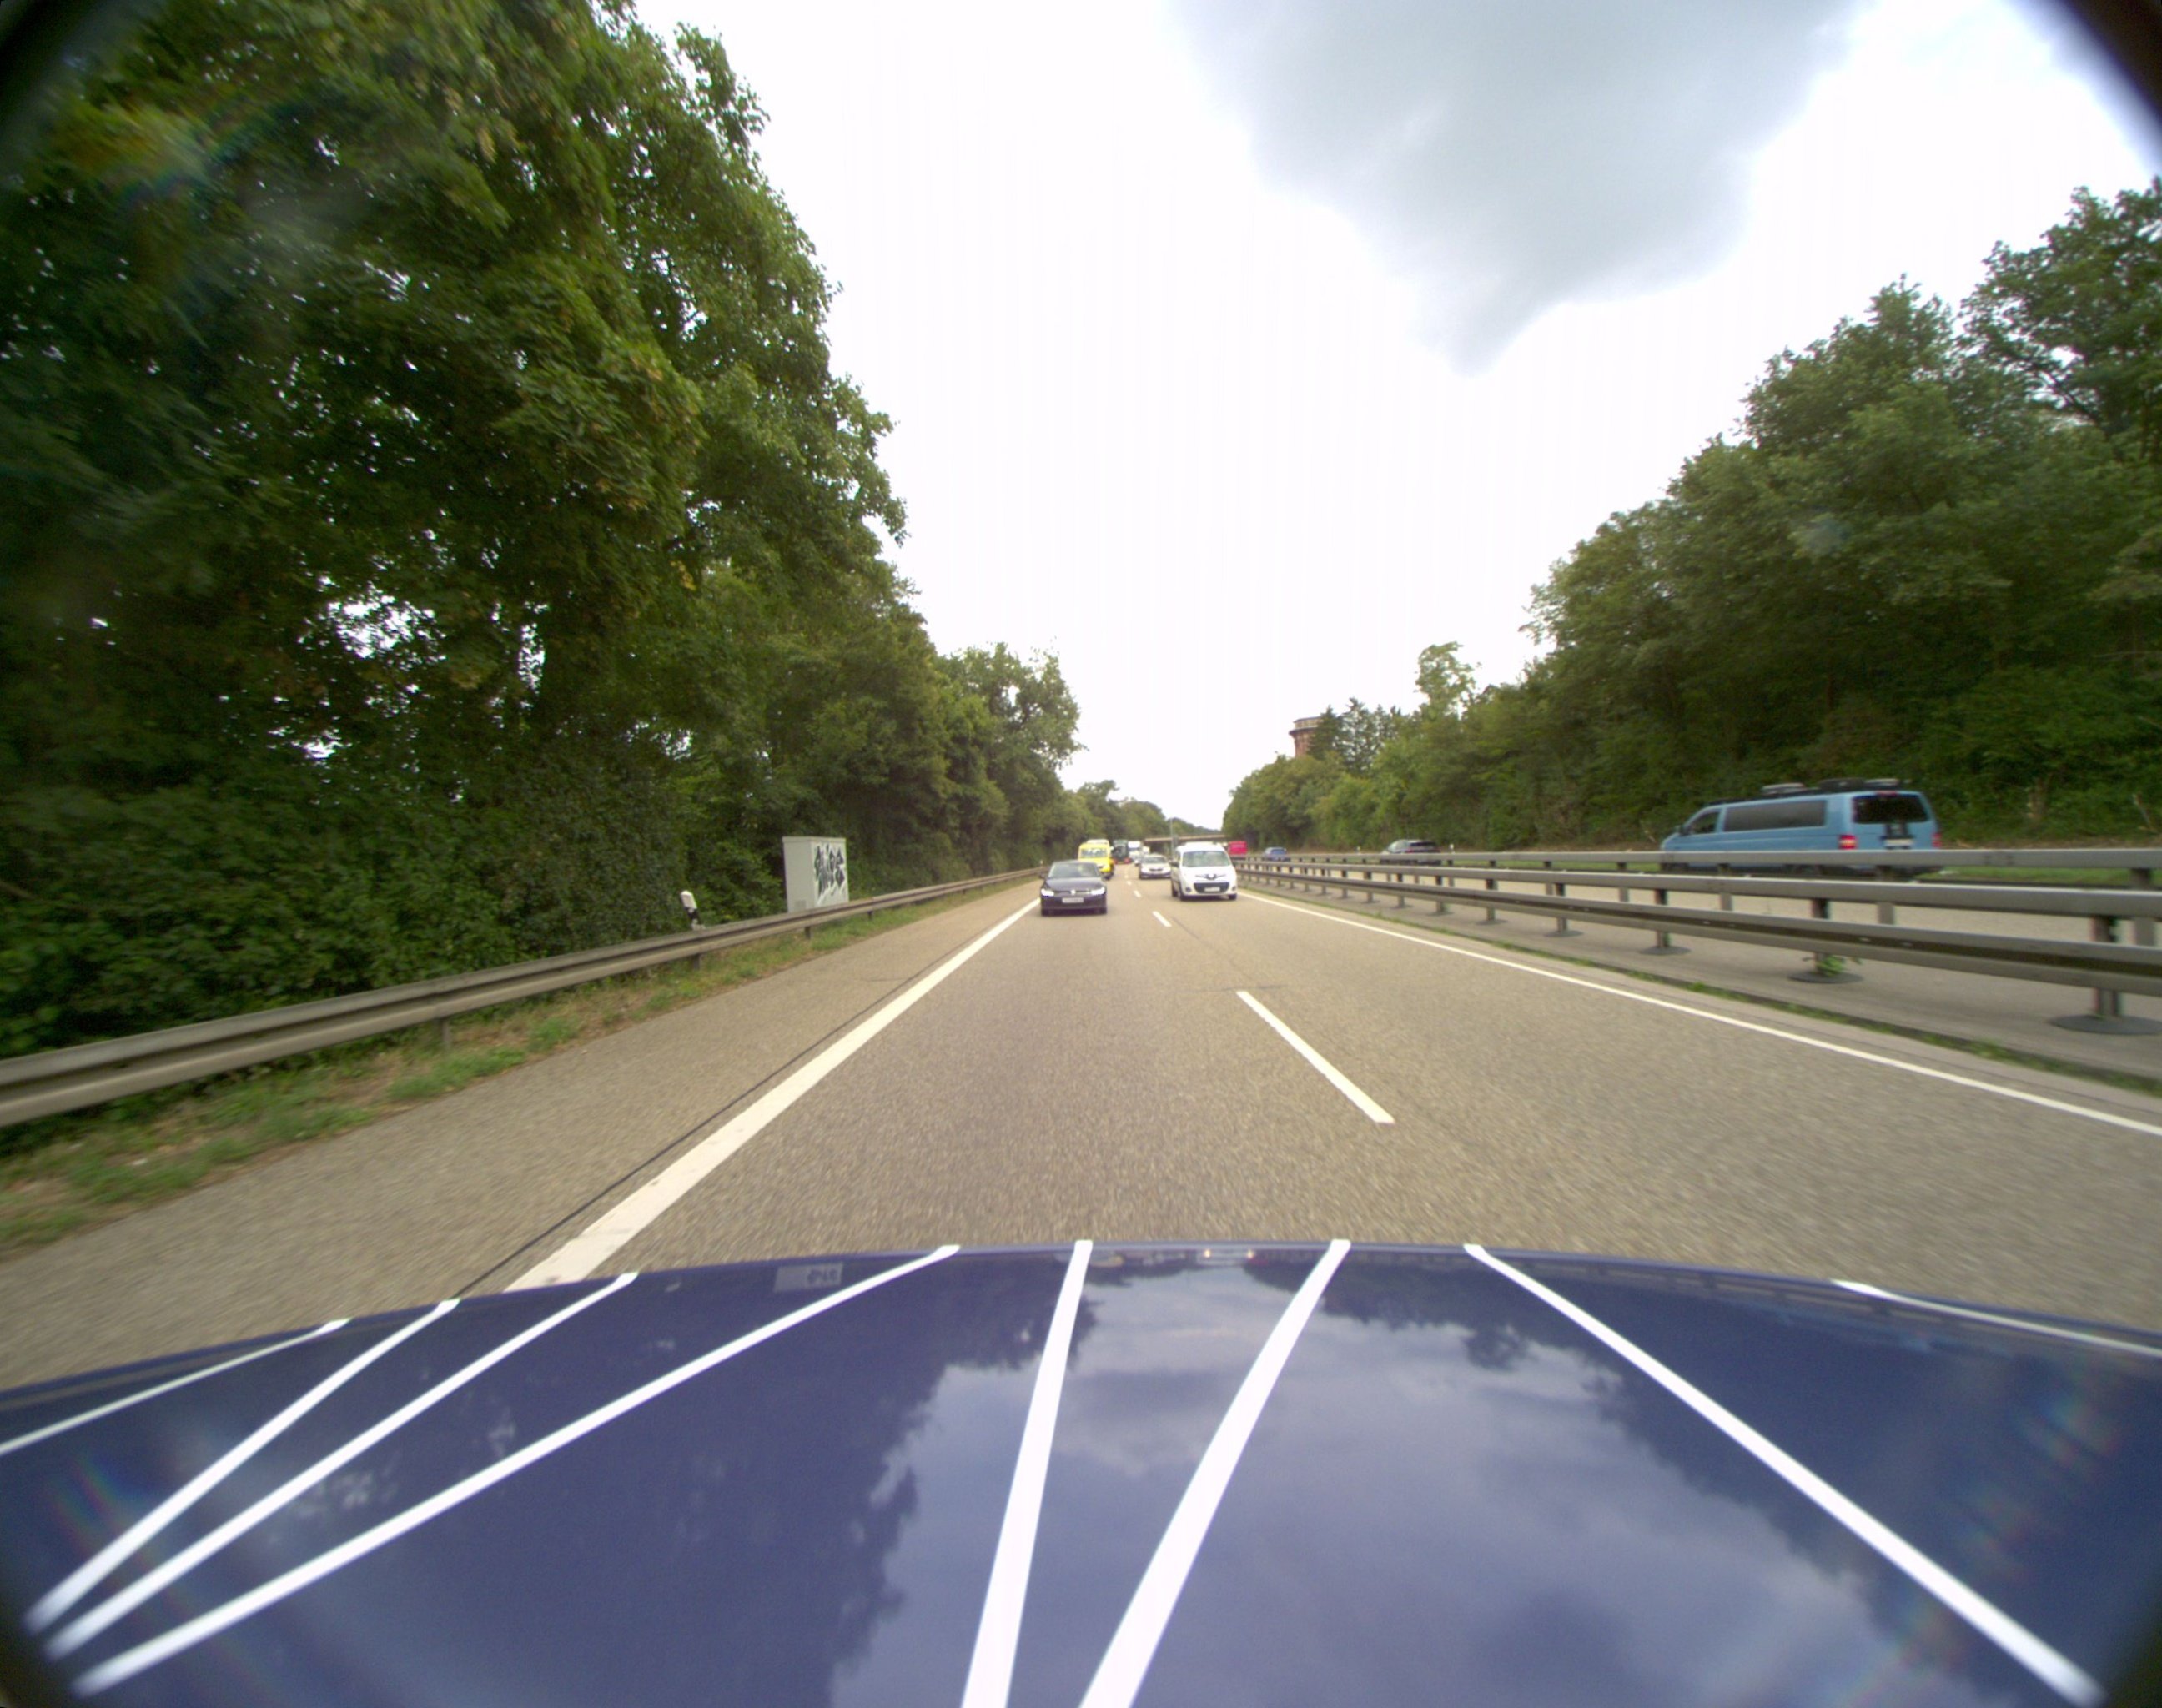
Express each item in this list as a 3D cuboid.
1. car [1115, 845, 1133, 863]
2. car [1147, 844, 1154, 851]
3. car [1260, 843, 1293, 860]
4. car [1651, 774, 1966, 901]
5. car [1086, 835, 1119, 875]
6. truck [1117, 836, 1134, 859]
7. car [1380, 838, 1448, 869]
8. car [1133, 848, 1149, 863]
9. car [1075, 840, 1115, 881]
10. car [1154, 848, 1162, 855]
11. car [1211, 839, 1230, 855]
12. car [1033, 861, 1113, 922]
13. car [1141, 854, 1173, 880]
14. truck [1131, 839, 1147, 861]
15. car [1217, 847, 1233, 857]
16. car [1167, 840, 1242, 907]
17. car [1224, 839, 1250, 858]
[{"bbox_3d":[4.392,-0.026,77.724,1.678,1.763,3.937,-1,0,1],"label":"car"},{"bbox_3d":[17.531,-1.678,191.973,1.680,1.840,4.001,-1,0,4],"label":"car"},{"bbox_3d":[18.064,-0.238,70.302,1.998,1.501,4.505,-1,0,2],"label":"car"},{"bbox_3d":[15.571,-0.322,16.833,1.940,2.308,5.305,-1,0,1],"label":"car"},{"bbox_3d":[1.585,0.076,56.134,2.207,2.732,6.167,-1,0,1],"label":"car"},{"bbox_3d":[7.170,-1.016,122.794,2.547,3.564,6.458,-1,0,5],"label":"truck"},{"bbox_3d":[16.643,-0.035,38.224,1.698,1.458,4.089,-1,0,1],"label":"car"},{"bbox_3d":[7.352,0.189,93.782,1.678,1.763,3.937,-1,0,1],"label":"car"},{"bbox_3d":[0.870,0.373,47.109,2.247,2.334,5.224,-1,0,1],"label":"car"},{"bbox_3d":[18.657,-0.604,183.451,1.816,1.840,4.001,-1,0,4],"label":"car"},{"bbox_3d":[23.389,-1.163,127.271,2.317,2.596,5.554,-1,0,3],"label":"car"},{"bbox_3d":[-0.111,0.964,21.418,1.800,1.398,4.641,-1,0,4],"label":"car"},{"bbox_3d":[4.629,0.759,46.746,1.772,1.416,4.199,-1,0,3],"label":"car"},{"bbox_3d":[12.387,-0.837,160.658,3.098,4.462,12.213,-1,0,5],"label":"truck"},{"bbox_3d":[21.347,-0.300,112.735,1.778,1.289,4.107,-1,0,2],"label":"car"},{"bbox_3d":[4.016,0.575,25.297,1.821,1.993,4.423,-1,0,1],"label":"car"},{"bbox_3d":[19.025,-0.701,92.925,2.071,2.243,5.375,-1,0,2],"label":"car"}]
